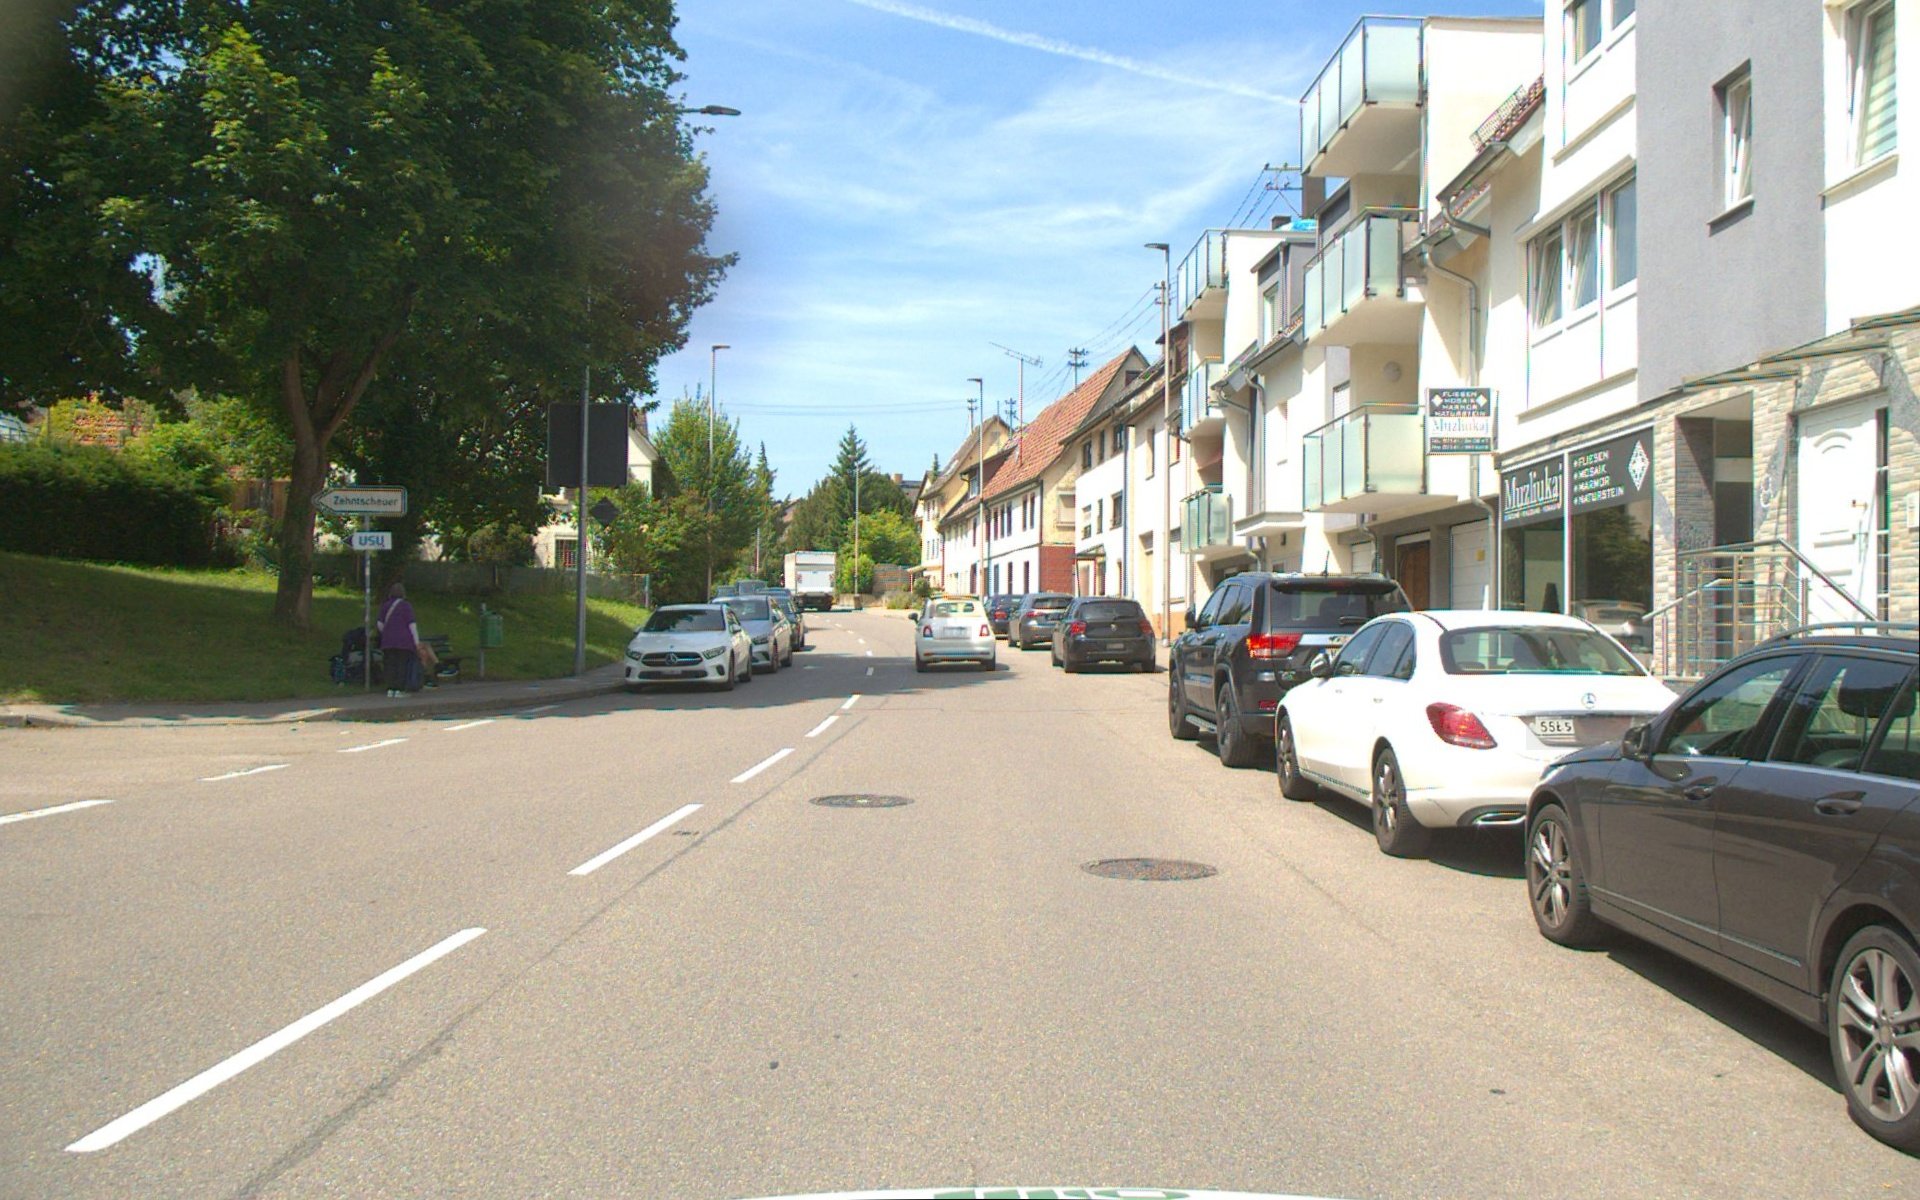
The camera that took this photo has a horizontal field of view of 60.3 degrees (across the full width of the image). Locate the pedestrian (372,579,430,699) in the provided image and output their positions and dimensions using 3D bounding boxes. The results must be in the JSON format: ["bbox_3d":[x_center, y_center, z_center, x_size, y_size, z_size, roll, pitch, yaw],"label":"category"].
[{"bbox_3d":[-7.871,0.547,23.273,0.719,1.645,0.625,2,-1,-20],"label":"pedestrian"}]

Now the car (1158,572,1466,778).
[{"bbox_3d":[3.310,0.637,16.576,1.914,1.746,4.714,1,0,-2],"label":"car"}]

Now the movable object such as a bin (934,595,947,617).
[{"bbox_3d":[-0.996,0.308,84.149,0.536,1.051,0.550,-2,1,-9],"label":"movable object such as a bin"}]

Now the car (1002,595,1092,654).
[{"bbox_3d":[2.240,0.599,43.745,1.759,1.427,4.407,-1,0,-5],"label":"car"}]

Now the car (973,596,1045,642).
[{"bbox_3d":[1.515,0.570,52.354,1.634,1.376,4.180,0,0,-8],"label":"car"}]

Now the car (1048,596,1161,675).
[{"bbox_3d":[2.794,0.665,32.796,1.760,1.449,4.289,-1,0,-1],"label":"car"}]

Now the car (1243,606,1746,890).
[{"bbox_3d":[3.282,0.798,11.237,1.753,1.481,4.714,0,0,-2],"label":"car"}]

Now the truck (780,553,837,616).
[{"bbox_3d":[-9.644,-0.919,104.621,3.013,3.840,7.848,0,-1,-10],"label":"truck"}]

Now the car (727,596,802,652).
[{"bbox_3d":[-5.440,0.638,46.483,1.769,1.448,4.925,-1,0,-3],"label":"car"}]

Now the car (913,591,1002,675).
[{"bbox_3d":[-0.063,0.637,34.148,1.690,1.587,4.000,-2,0,-1],"label":"car"}]

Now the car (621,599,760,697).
[{"bbox_3d":[-4.581,0.768,28.681,1.719,1.492,4.362,-1,0,-1],"label":"car"}]

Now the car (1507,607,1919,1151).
[{"bbox_3d":[3.507,0.783,5.810,1.752,1.445,4.358,1,0,1],"label":"car"}]

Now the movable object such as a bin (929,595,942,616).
[{"bbox_3d":[-1.276,0.291,85.929,0.536,1.051,0.550,-2,1,-9],"label":"movable object such as a bin"}]

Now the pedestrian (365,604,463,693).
[{"bbox_3d":[-8.251,0.723,25.014,1.210,1.291,0.647,2,-1,3],"label":"pedestrian"}]

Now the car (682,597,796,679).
[{"bbox_3d":[-4.571,0.735,34.691,1.736,1.554,4.222,-1,0,1],"label":"car"}]
